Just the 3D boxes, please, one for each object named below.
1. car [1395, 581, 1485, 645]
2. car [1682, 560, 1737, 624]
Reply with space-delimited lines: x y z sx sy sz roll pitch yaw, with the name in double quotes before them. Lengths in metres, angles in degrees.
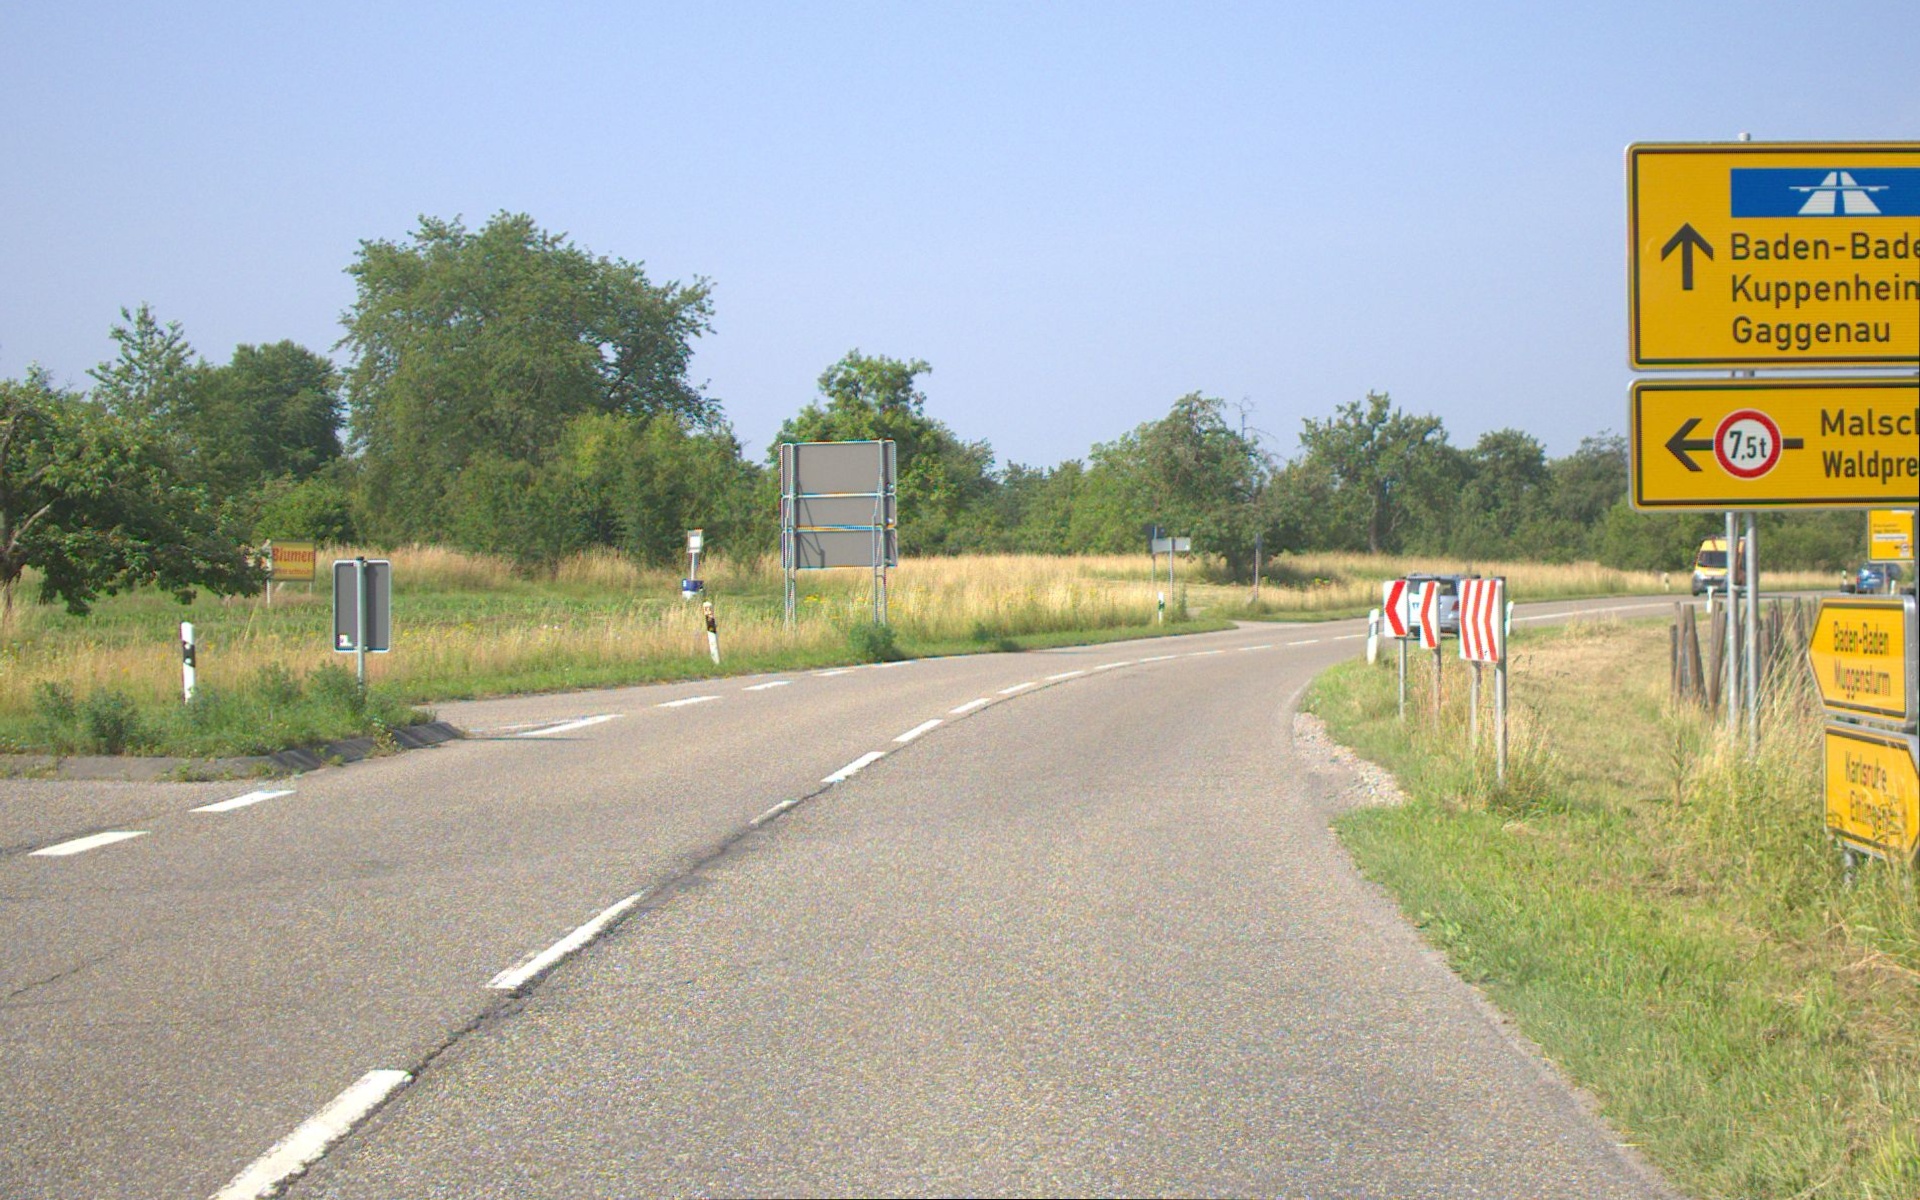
"car" 11.878 0.313 84.882 1.900 1.506 3.998 1 1 12
"car" 32.776 -0.375 150.258 2.125 2.687 5.265 1 1 15
